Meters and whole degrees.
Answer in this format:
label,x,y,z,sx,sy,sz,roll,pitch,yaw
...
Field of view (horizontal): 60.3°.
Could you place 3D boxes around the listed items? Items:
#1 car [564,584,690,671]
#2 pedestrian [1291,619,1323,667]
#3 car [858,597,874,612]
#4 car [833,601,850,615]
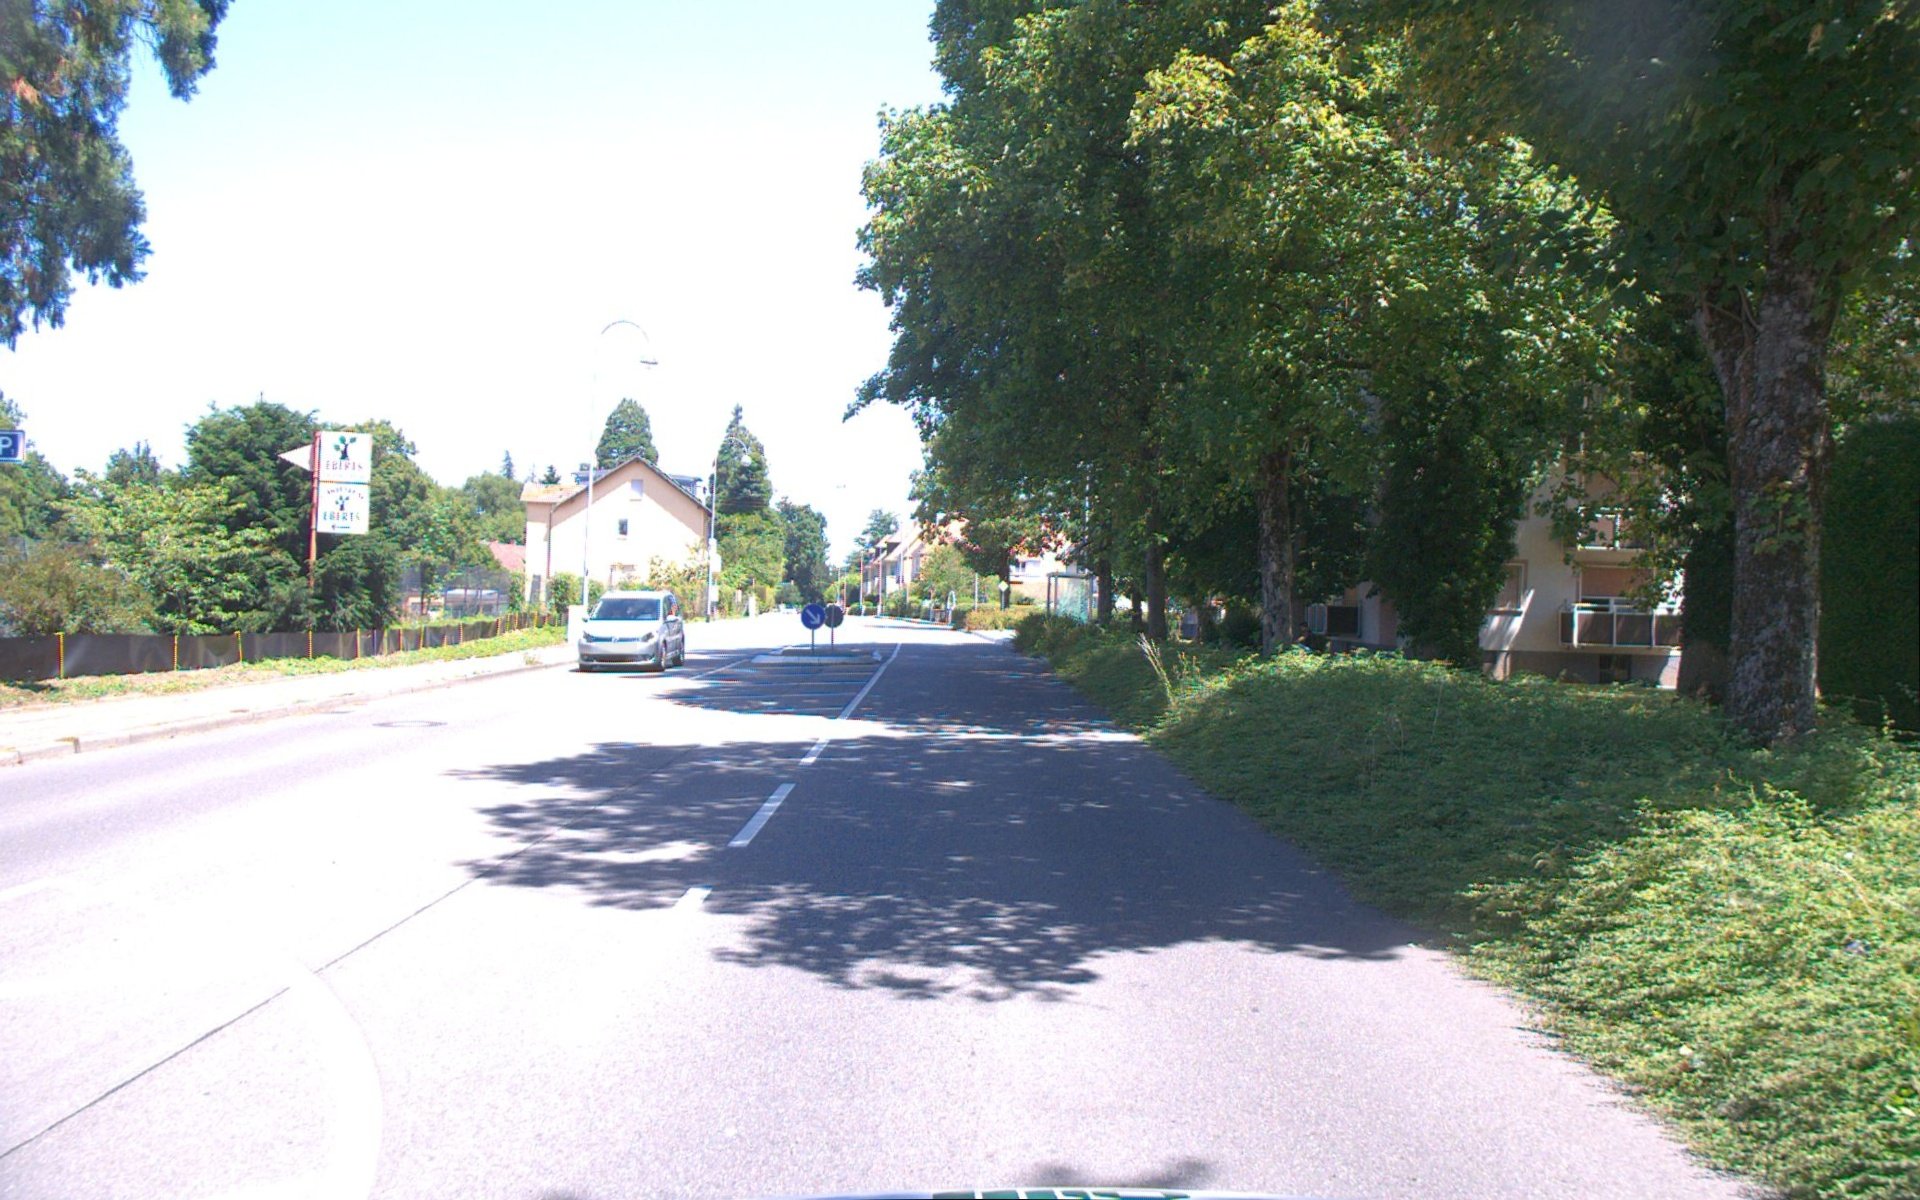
label,x,y,z,sx,sy,sz,roll,pitch,yaw
car,-6.944,0.553,34.924,1.873,1.719,4.124,0,0,-1
pedestrian,8.922,1.099,42.537,0.689,1.180,0.754,1,0,3
car,-12.069,0.580,211.763,1.778,1.748,4.000,1,0,0
car,-15.159,0.999,211.661,1.778,1.748,4.000,1,0,0
